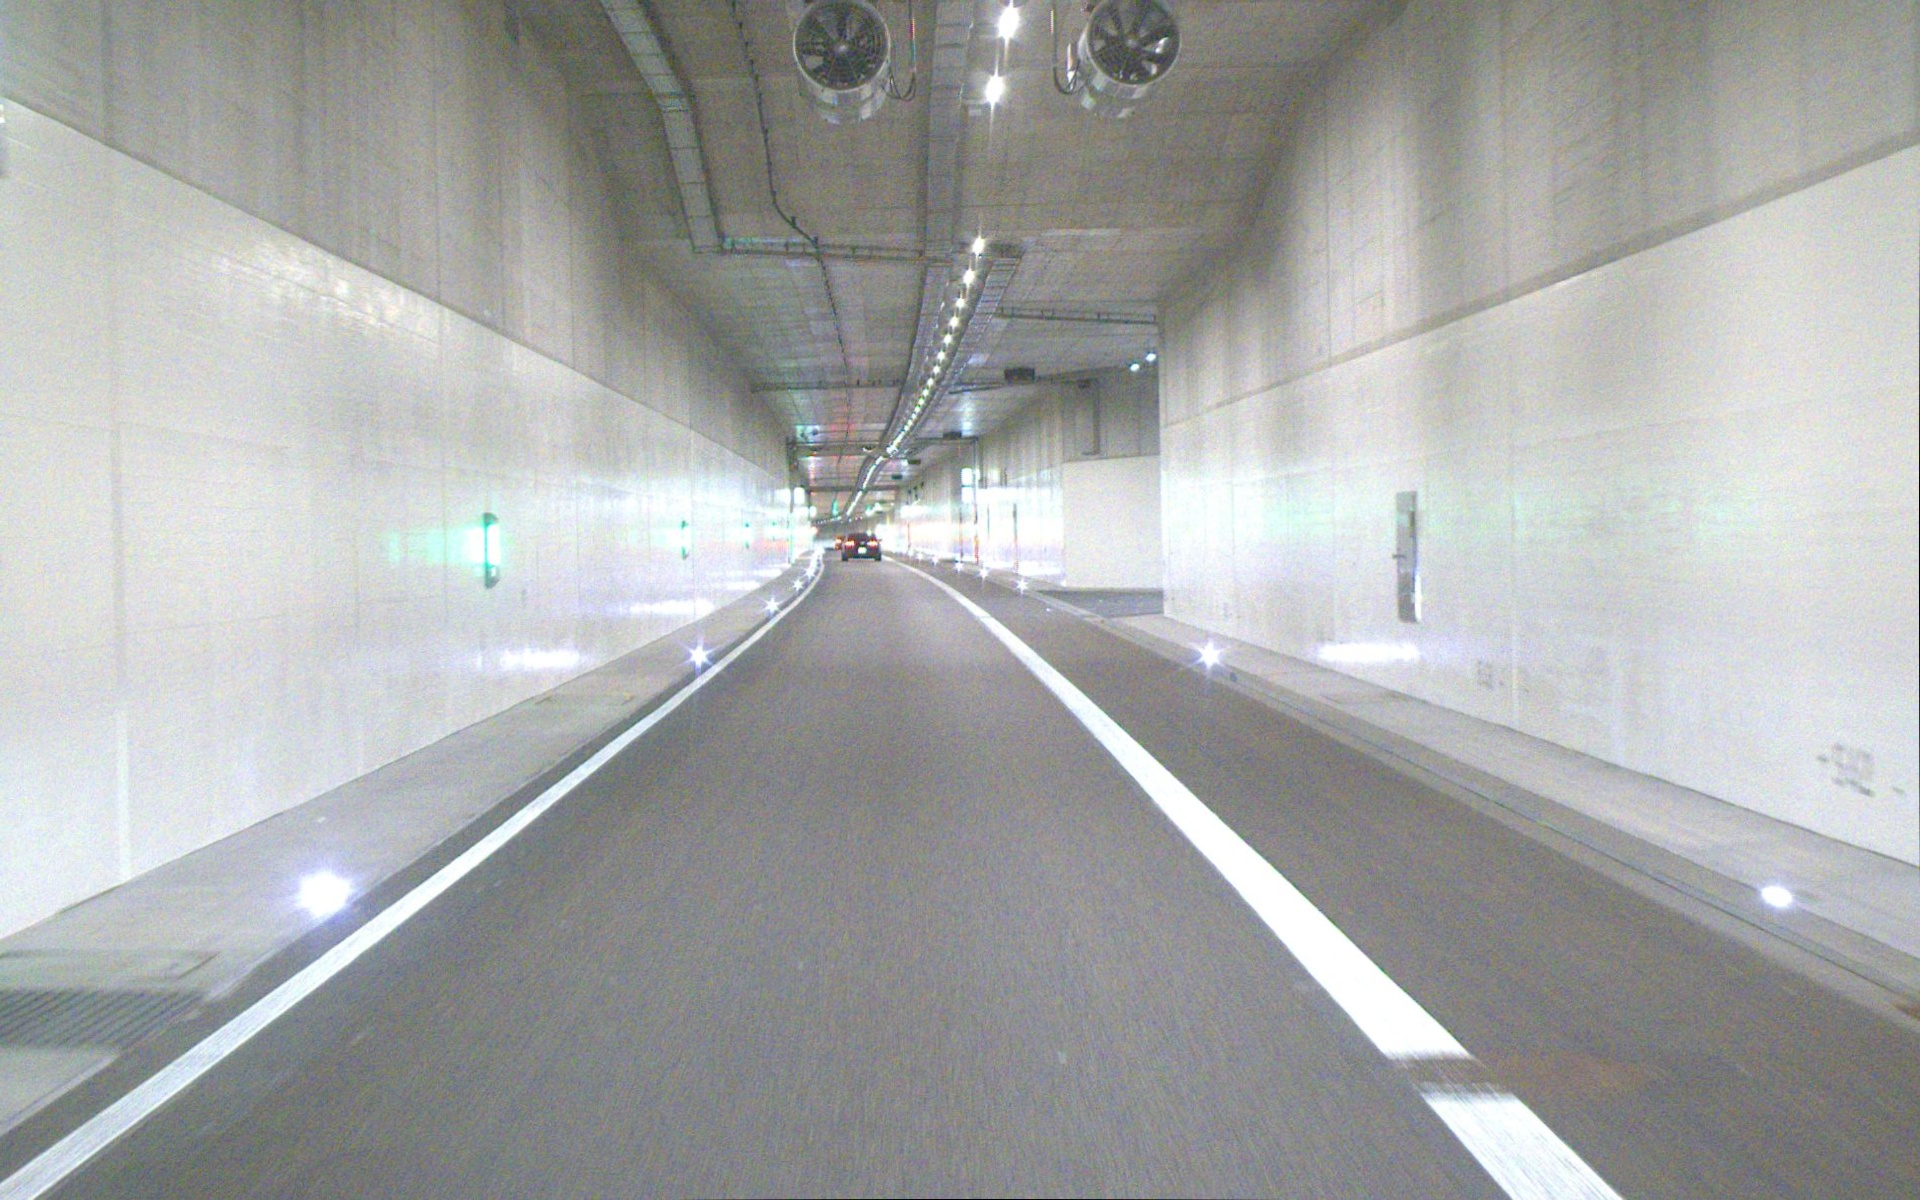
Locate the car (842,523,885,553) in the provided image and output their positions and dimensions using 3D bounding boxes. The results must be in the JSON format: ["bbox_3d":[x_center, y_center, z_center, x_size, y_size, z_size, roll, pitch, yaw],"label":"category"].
[{"bbox_3d":[-4.626,-2.981,164.551,1.993,1.415,4.001,1,1,-2],"label":"car"}]
